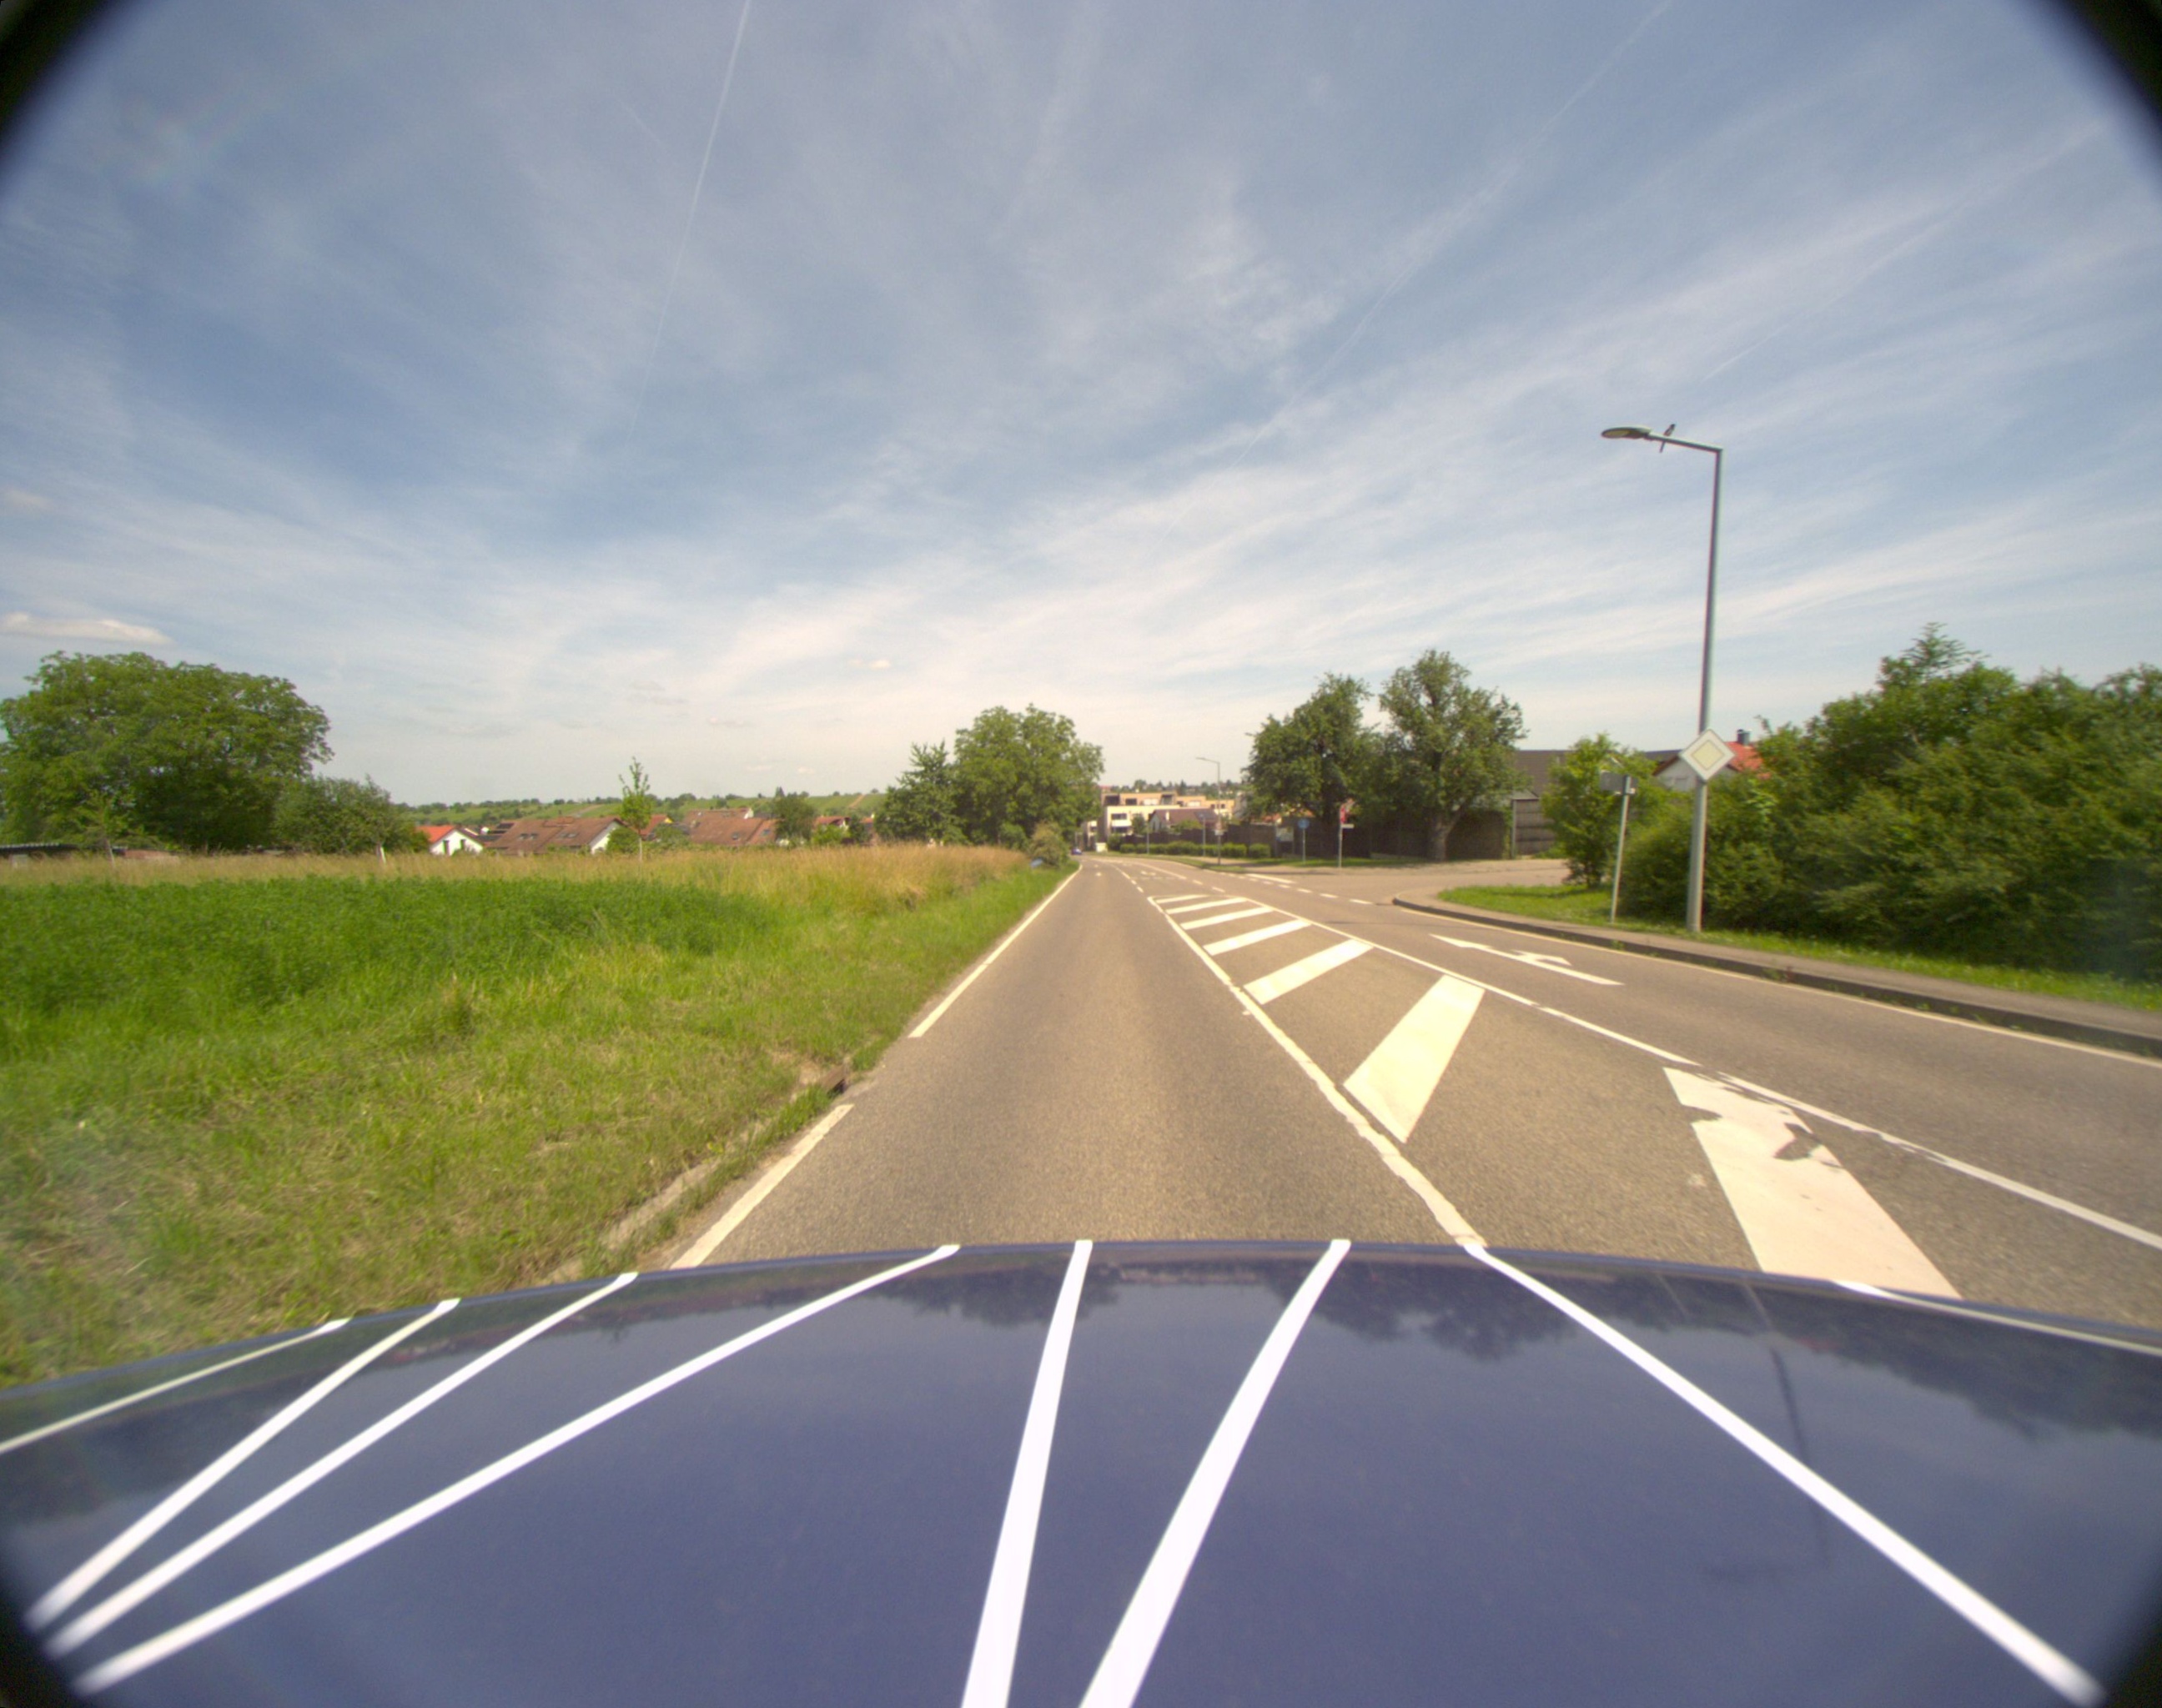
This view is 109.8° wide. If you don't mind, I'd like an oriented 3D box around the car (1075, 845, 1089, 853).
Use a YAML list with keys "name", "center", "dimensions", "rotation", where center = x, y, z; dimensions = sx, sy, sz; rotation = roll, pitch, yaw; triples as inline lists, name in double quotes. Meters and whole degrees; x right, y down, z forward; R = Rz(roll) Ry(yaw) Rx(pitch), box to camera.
- name: "car"
  center: [0.147, -0.866, 139.942]
  dimensions: [1.614, 1.483, 3.843]
  rotation: [-1, 0, -15]
